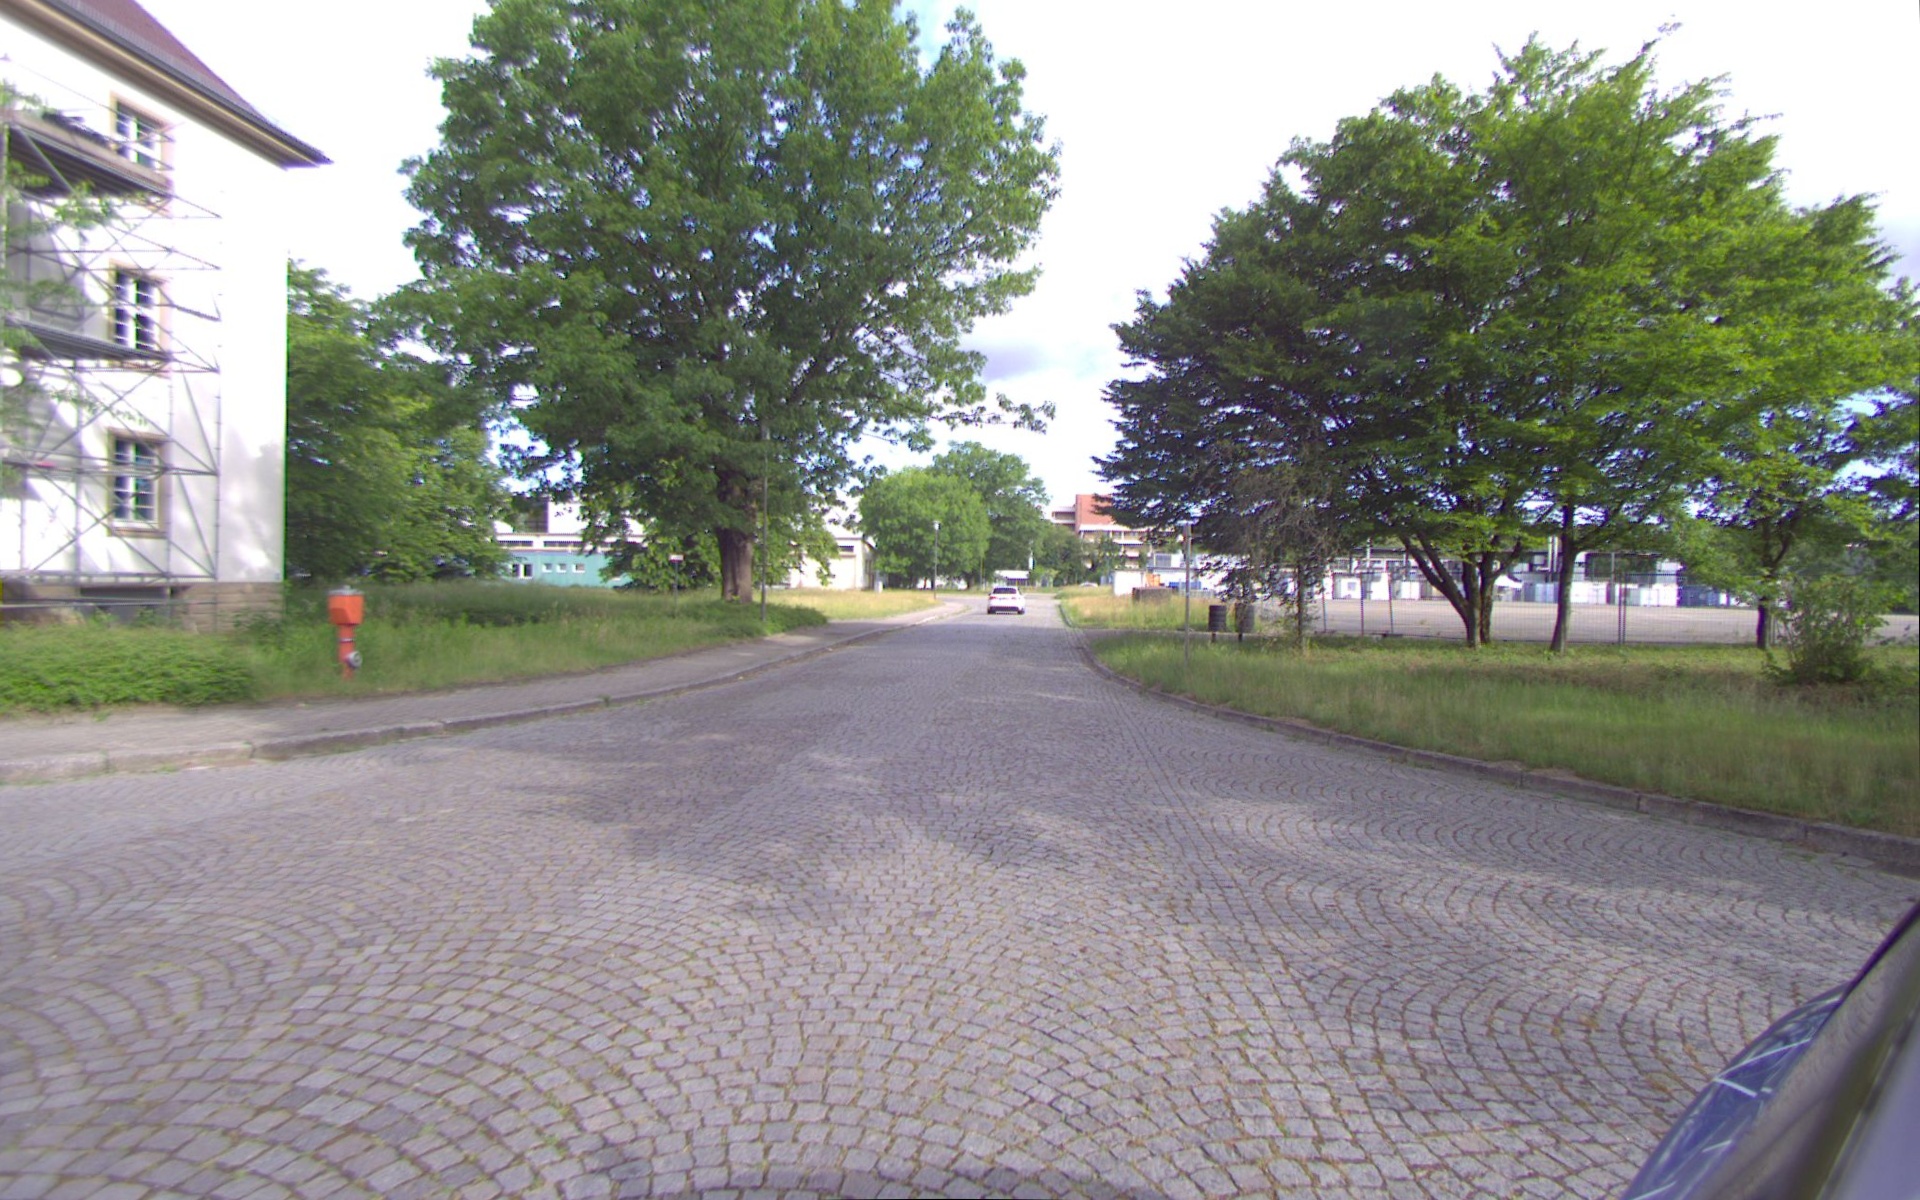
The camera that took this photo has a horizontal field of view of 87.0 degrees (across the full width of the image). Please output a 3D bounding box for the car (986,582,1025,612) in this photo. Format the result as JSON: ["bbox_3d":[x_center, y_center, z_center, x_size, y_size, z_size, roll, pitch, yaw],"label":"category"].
[{"bbox_3d":[2.358,-0.198,51.649,1.822,1.455,4.701,0,1,5],"label":"car"}]
